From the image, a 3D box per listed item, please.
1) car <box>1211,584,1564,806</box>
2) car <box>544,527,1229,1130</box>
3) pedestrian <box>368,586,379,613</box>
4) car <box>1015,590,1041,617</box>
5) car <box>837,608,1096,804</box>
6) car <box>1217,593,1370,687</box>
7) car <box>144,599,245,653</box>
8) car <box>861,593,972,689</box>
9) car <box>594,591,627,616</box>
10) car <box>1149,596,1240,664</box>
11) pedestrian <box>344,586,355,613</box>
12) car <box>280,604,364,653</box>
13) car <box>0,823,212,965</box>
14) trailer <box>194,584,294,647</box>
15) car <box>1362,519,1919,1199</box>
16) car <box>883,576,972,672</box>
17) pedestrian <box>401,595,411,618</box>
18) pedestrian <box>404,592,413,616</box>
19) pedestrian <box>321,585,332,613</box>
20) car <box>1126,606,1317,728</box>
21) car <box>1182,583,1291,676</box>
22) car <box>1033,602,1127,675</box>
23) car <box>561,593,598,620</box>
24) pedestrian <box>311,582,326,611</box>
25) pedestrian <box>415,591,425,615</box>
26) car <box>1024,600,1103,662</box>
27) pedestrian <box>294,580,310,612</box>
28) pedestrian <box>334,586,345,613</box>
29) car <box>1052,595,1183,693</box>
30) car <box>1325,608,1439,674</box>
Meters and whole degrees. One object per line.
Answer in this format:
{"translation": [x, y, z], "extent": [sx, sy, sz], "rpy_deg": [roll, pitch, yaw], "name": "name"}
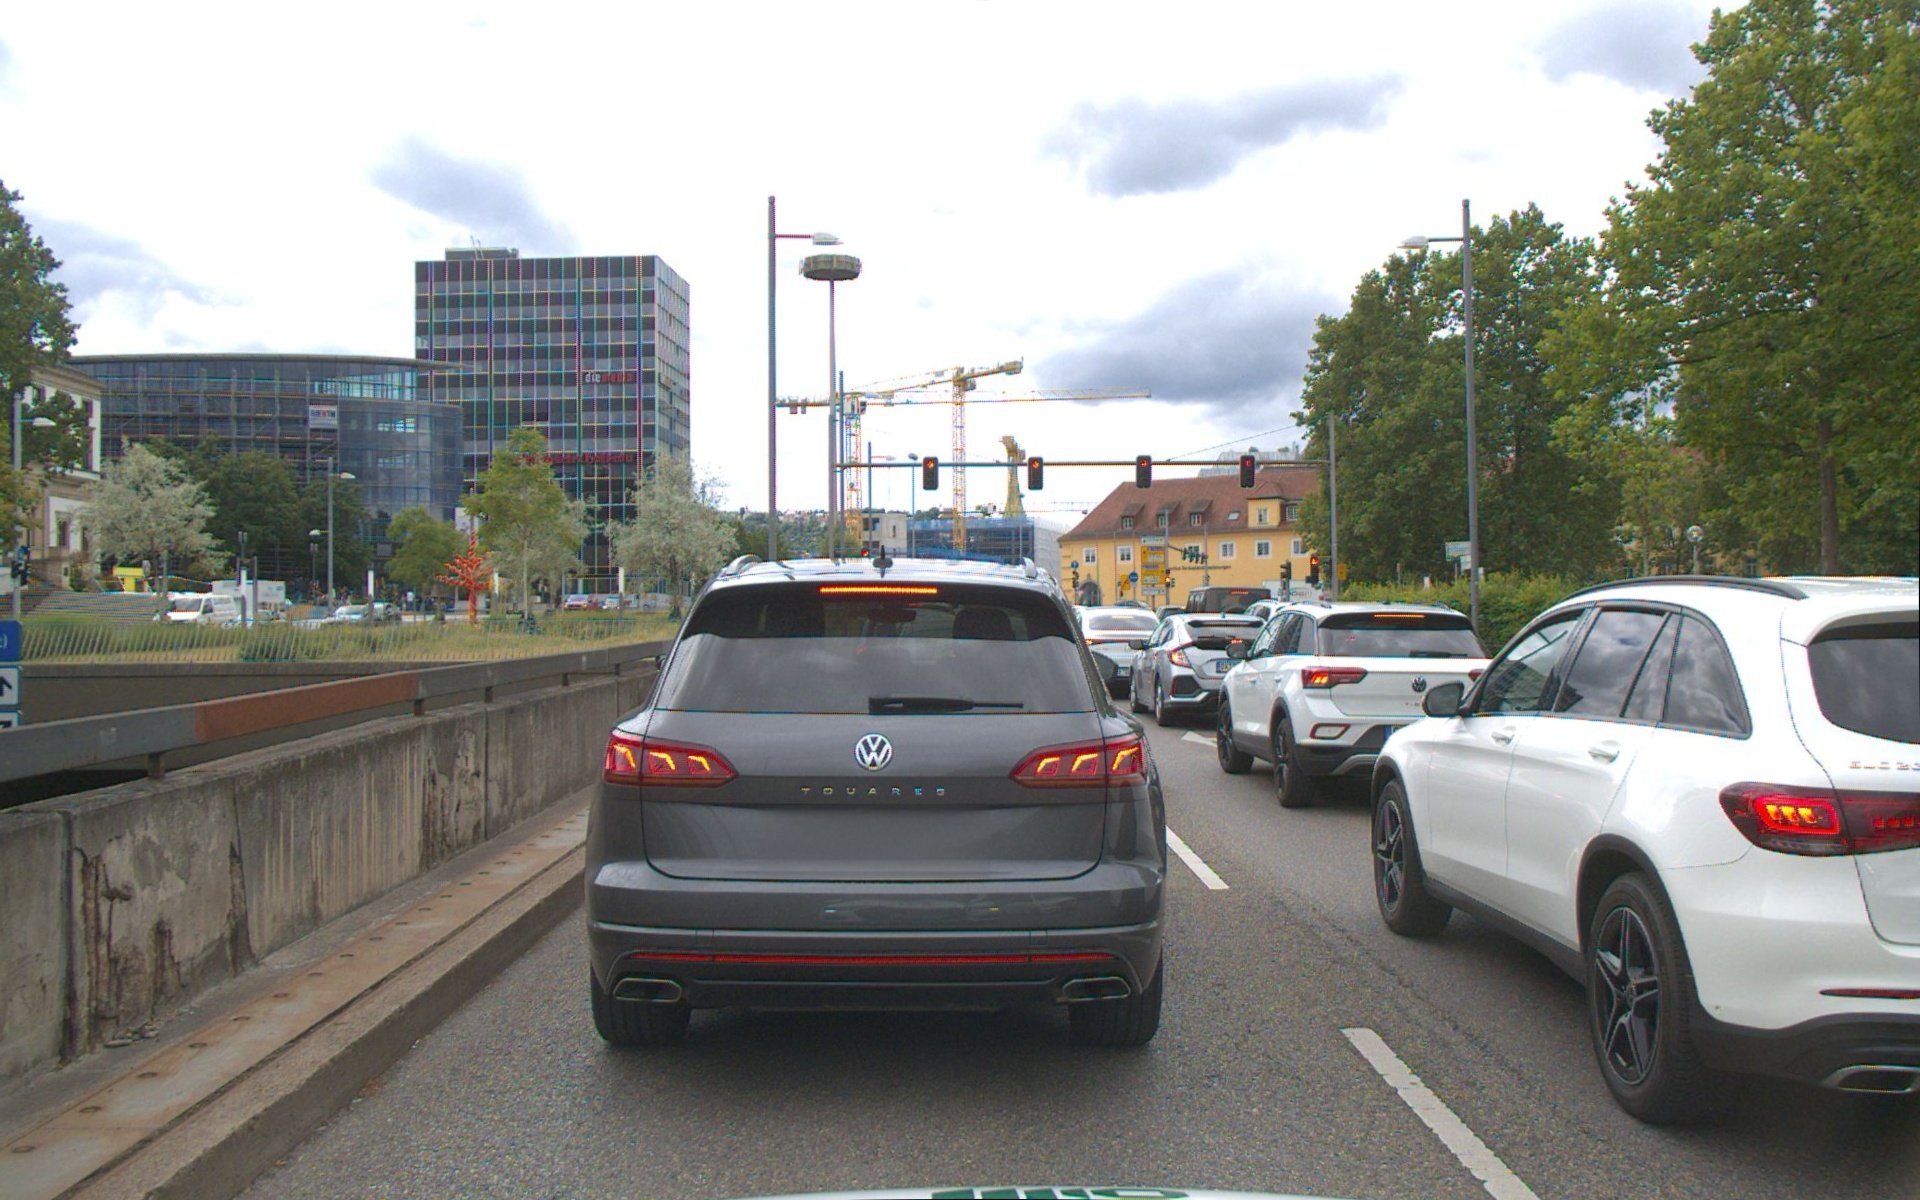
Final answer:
{"translation": [3.407, 0.711, 14.104], "extent": [1.887, 1.578, 4.489], "rpy_deg": [1, -1, 0], "name": "car"}
{"translation": [-0.234, 0.648, 6.640], "extent": [1.912, 1.680, 3.999], "rpy_deg": [0, 0, -1], "name": "car"}
{"translation": [-45.395, -0.060, 128.020], "extent": [0.726, 2.049, 0.789], "rpy_deg": [-1, 1, -16], "name": "pedestrian"}
{"translation": [4.567, 0.271, 111.454], "extent": [1.586, 1.656, 3.999], "rpy_deg": [2, -1, 0], "name": "car"}
{"translation": [0.017, 0.807, 14.379], "extent": [1.912, 1.408, 3.930], "rpy_deg": [2, 0, -1], "name": "car"}
{"translation": [6.439, 0.721, 32.424], "extent": [1.954, 1.668, 4.302], "rpy_deg": [0, 1, -3], "name": "car"}
{"translation": [-31.369, 1.019, 67.940], "extent": [1.953, 2.048, 4.692], "rpy_deg": [0, 1, 0], "name": "car"}
{"translation": [-0.801, 0.724, 30.996], "extent": [1.912, 1.628, 3.930], "rpy_deg": [2, 0, -1], "name": "car"}
{"translation": [-30.465, 0.269, 144.416], "extent": [1.953, 2.048, 4.691], "rpy_deg": [0, 1, -1], "name": "car"}
{"translation": [6.302, 0.800, 44.768], "extent": [1.871, 1.727, 4.011], "rpy_deg": [2, -1, 0], "name": "car"}
{"translation": [-46.669, -0.022, 126.428], "extent": [0.728, 2.049, 1.076], "rpy_deg": [-1, 1, -22], "name": "pedestrian"}
{"translation": [-28.583, 1.246, 74.280], "extent": [1.953, 2.048, 4.692], "rpy_deg": [0, 1, 0], "name": "car"}
{"translation": [-20.253, 6.793, 38.954], "extent": [2.566, 2.351, 5.933], "rpy_deg": [2, -1, -1], "name": "car"}
{"translation": [-31.553, 0.636, 73.043], "extent": [1.996, 2.650, 5.507], "rpy_deg": [2, 1, -1], "name": "trailer"}
{"translation": [2.987, 0.645, 6.240], "extent": [1.887, 1.682, 4.490], "rpy_deg": [0, 0, 0], "name": "car"}
{"translation": [-0.755, 0.533, 38.532], "extent": [1.912, 2.053, 3.930], "rpy_deg": [2, 0, -1], "name": "car"}
{"translation": [-49.482, 0.556, 147.742], "extent": [0.728, 2.049, 0.787], "rpy_deg": [-1, 1, -23], "name": "pedestrian"}
{"translation": [-47.601, 0.380, 142.716], "extent": [0.726, 2.049, 0.789], "rpy_deg": [-1, 1, -16], "name": "pedestrian"}
{"translation": [-47.900, -0.090, 125.013], "extent": [0.729, 2.049, 0.914], "rpy_deg": [-1, 1, -24], "name": "pedestrian"}
{"translation": [3.384, 0.836, 22.230], "extent": [1.887, 1.457, 4.489], "rpy_deg": [1, -1, 0], "name": "car"}
{"translation": [6.482, 0.686, 39.192], "extent": [1.871, 2.049, 4.011], "rpy_deg": [2, -1, 0], "name": "car"}
{"translation": [2.684, 0.852, 37.764], "extent": [1.887, 1.556, 4.047], "rpy_deg": [1, -1, 0], "name": "car"}
{"translation": [-30.036, 0.482, 130.595], "extent": [1.953, 2.048, 4.691], "rpy_deg": [0, 1, -2], "name": "car"}
{"translation": [-44.996, -0.233, 116.060], "extent": [0.723, 2.049, 0.793], "rpy_deg": [-1, 1, 0], "name": "pedestrian"}
{"translation": [-46.627, 0.275, 142.806], "extent": [0.726, 2.049, 0.789], "rpy_deg": [-1, 1, -16], "name": "pedestrian"}
{"translation": [2.706, 0.821, 44.053], "extent": [1.887, 1.556, 4.047], "rpy_deg": [1, -1, 0], "name": "car"}
{"translation": [-42.855, -0.255, 107.739], "extent": [0.723, 2.049, 0.792], "rpy_deg": [0, -2, -2], "name": "pedestrian"}
{"translation": [-46.896, -0.062, 125.015], "extent": [0.729, 2.049, 0.913], "rpy_deg": [-1, 1, -25], "name": "pedestrian"}
{"translation": [2.668, 0.737, 28.945], "extent": [1.887, 1.556, 4.489], "rpy_deg": [1, -1, 0], "name": "car"}
{"translation": [10.175, 0.996, 40.193], "extent": [1.891, 1.485, 4.529], "rpy_deg": [1, -1, 4], "name": "car"}
